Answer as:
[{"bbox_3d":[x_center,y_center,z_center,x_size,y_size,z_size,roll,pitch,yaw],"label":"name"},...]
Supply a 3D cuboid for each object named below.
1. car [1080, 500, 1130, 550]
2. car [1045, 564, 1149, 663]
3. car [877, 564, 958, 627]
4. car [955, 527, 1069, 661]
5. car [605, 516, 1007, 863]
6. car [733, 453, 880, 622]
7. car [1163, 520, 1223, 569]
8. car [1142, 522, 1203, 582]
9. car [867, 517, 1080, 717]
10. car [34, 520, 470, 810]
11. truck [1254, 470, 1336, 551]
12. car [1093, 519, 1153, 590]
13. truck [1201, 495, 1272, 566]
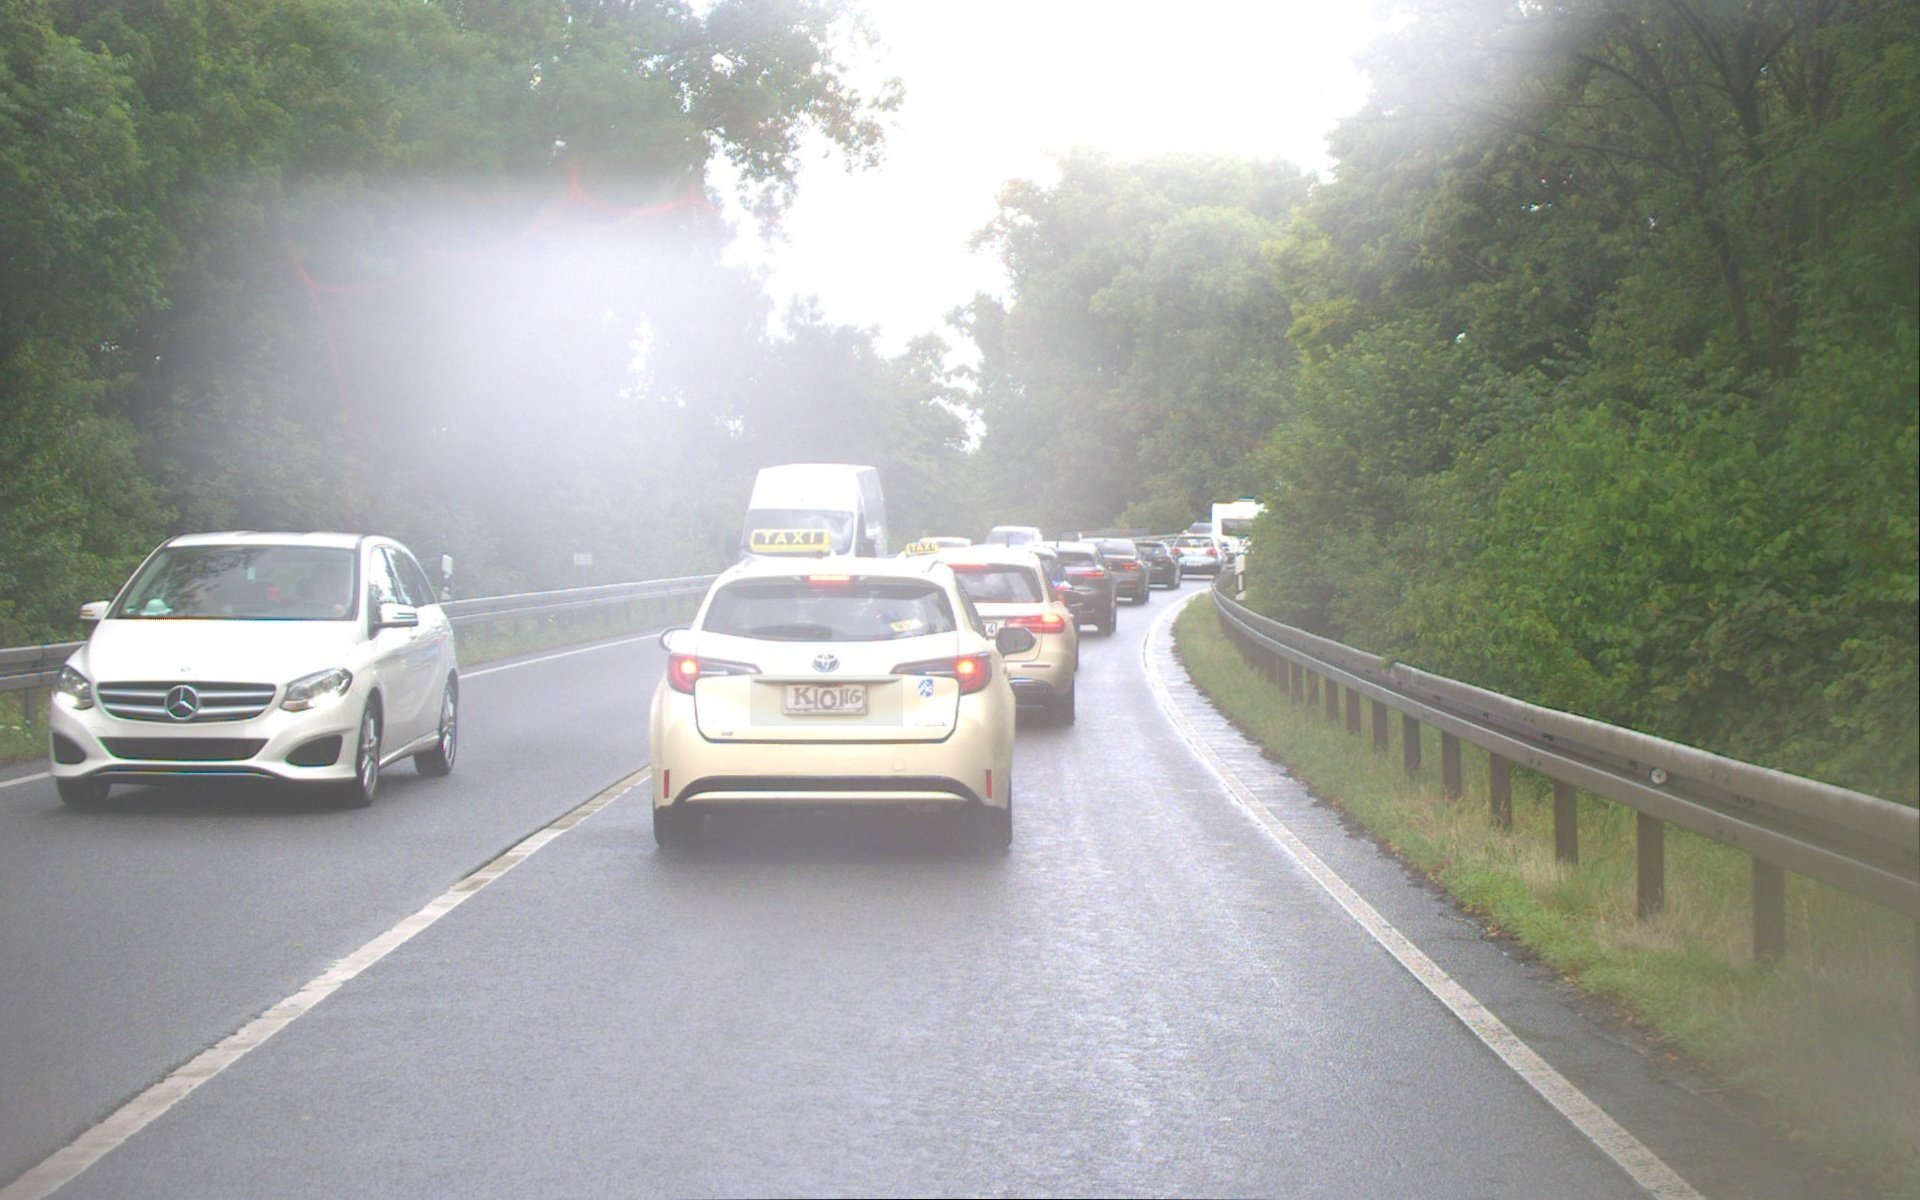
[{"bbox_3d":[6.035,-3.105,142.653,1.994,2.007,4.000,1,0,3],"label":"car"},{"bbox_3d":[2.217,0.208,55.580,1.611,1.541,3.814,0,0,2],"label":"car"},{"bbox_3d":[-0.987,-0.122,81.429,1.728,1.426,3.849,1,0,2],"label":"car"},{"bbox_3d":[0.640,-0.082,41.505,1.300,1.541,3.260,1,0,1],"label":"car"},{"bbox_3d":[-0.710,0.399,17.917,1.834,1.575,4.157,1,0,0],"label":"car"},{"bbox_3d":[-2.504,-1.014,57.677,2.048,2.667,6.171,0,0,1],"label":"car"},{"bbox_3d":[7.731,-1.817,113.857,1.770,1.541,3.813,1,0,7],"label":"car"},{"bbox_3d":[5.892,-1.310,95.154,1.616,1.607,3.621,1,0,4],"label":"car"},{"bbox_3d":[0.177,0.123,29.480,1.667,1.575,3.892,1,0,2],"label":"car"},{"bbox_3d":[-4.154,0.306,20.851,1.691,1.550,4.442,1,1,0],"label":"car"},{"bbox_3d":[16.046,-4.251,164.425,3.109,3.668,6.996,1,0,12],"label":"truck"},{"bbox_3d":[3.656,-1.015,76.835,1.167,1.541,2.603,1,0,6],"label":"car"},{"bbox_3d":[10.964,-2.737,136.868,2.550,2.704,7.534,1,0,3],"label":"truck"}]
